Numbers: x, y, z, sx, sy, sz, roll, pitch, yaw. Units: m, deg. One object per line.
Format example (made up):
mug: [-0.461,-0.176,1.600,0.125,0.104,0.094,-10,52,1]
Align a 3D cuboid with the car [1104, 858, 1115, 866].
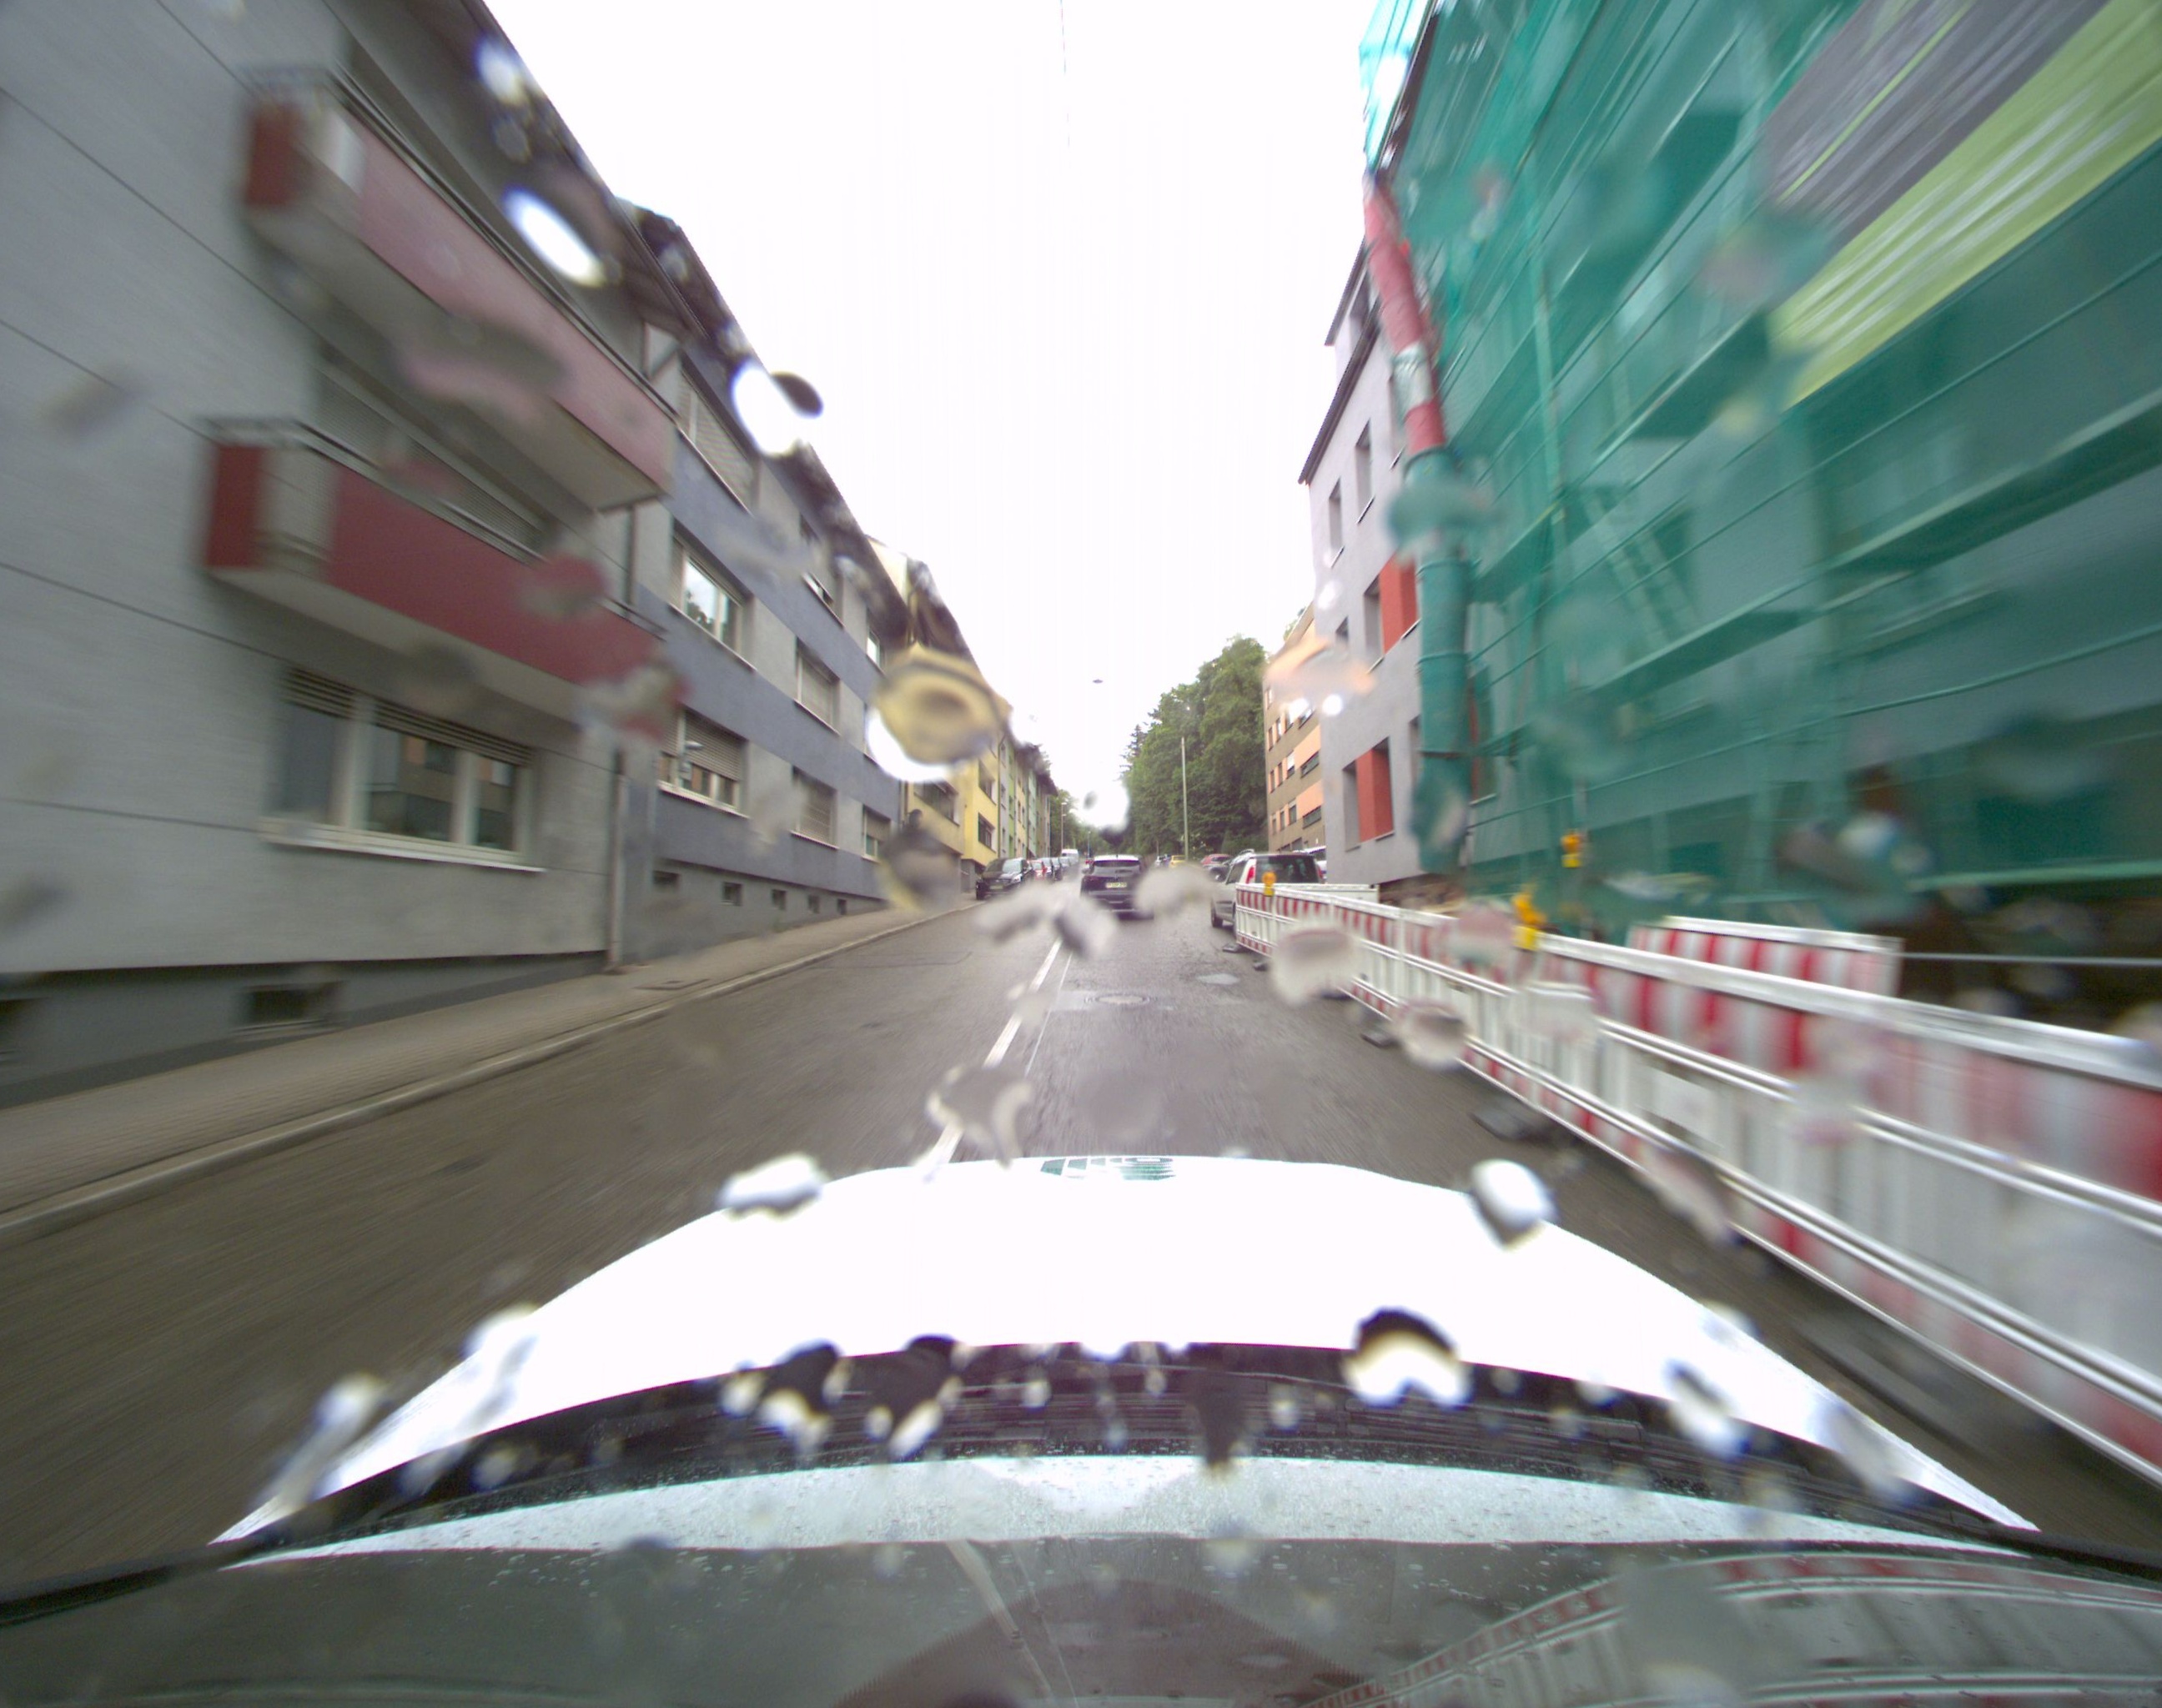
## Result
car: [6.226,1.726,177.142,2.069,1.559,3.997,0,0,-2]

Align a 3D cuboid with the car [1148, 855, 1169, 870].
car: [8.540,0.986,90.465,1.805,1.530,4.415,-3,0,-1]

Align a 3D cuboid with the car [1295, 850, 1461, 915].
car: [7.822,0.735,21.689,3.790,1.550,1.660,-2,0,0]

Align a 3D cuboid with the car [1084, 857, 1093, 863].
car: [1.777,1.444,197.791,2.067,1.559,4.000,0,0,0]

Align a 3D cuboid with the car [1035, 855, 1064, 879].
car: [-2.228,0.905,58.117,1.847,1.585,4.305,-1,0,0]

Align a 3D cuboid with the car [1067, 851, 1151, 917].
car: [0.721,0.710,21.427,1.986,1.559,4.001,1,0,1]

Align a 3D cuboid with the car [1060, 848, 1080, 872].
car: [-1.131,0.673,88.518,1.984,2.475,5.784,-1,0,0]

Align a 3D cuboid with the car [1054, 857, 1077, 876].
car: [-1.391,1.144,75.843,1.984,1.585,4.305,-1,0,0]

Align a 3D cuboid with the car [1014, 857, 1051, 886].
car: [-2.562,0.903,43.951,1.722,1.472,3.491,-1,0,0]

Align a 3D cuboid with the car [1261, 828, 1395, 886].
car: [9.148,0.111,30.411,4.328,1.529,1.876,-8,0,0]

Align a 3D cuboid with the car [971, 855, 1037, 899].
car: [-3.083,0.905,33.507,1.985,1.650,4.446,-1,0,4]

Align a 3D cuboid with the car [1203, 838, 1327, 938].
car: [3.595,0.598,16.557,1.634,1.762,4.000,1,0,0]

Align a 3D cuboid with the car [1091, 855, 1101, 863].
car: [3.206,1.083,173.861,2.068,1.559,3.999,0,0,0]

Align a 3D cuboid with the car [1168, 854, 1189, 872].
car: [8.740,0.811,73.194,1.625,1.530,4.004,1,0,4]

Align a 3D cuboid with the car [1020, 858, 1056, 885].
car: [-2.632,1.066,50.844,1.987,1.585,4.471,-1,0,0]

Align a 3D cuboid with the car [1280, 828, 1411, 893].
car: [9.012,0.217,27.972,3.814,1.702,1.728,-7,0,-1]

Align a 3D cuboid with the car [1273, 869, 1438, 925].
car: [8.032,1.243,24.105,4.254,1.466,1.893,-1,0,0]

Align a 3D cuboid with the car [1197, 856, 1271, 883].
car: [9.313,0.939,49.819,4.185,1.496,1.759,2,0,-1]

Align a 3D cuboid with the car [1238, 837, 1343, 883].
car: [9.025,0.252,35.273,3.952,1.530,1.691,-6,0,-3]

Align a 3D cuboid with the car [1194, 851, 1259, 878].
car: [10.254,0.758,57.601,4.188,1.734,1.758,2,0,-3]

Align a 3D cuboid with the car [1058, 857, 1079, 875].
car: [-1.202,1.200,81.647,1.984,1.755,4.480,-1,0,0]

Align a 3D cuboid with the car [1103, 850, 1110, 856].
car: [7.356,-0.205,233.304,1.985,1.560,4.003,-2,-2,4]

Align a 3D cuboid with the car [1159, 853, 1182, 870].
car: [8.756,0.765,80.162,1.804,1.530,4.418,-3,0,1]
